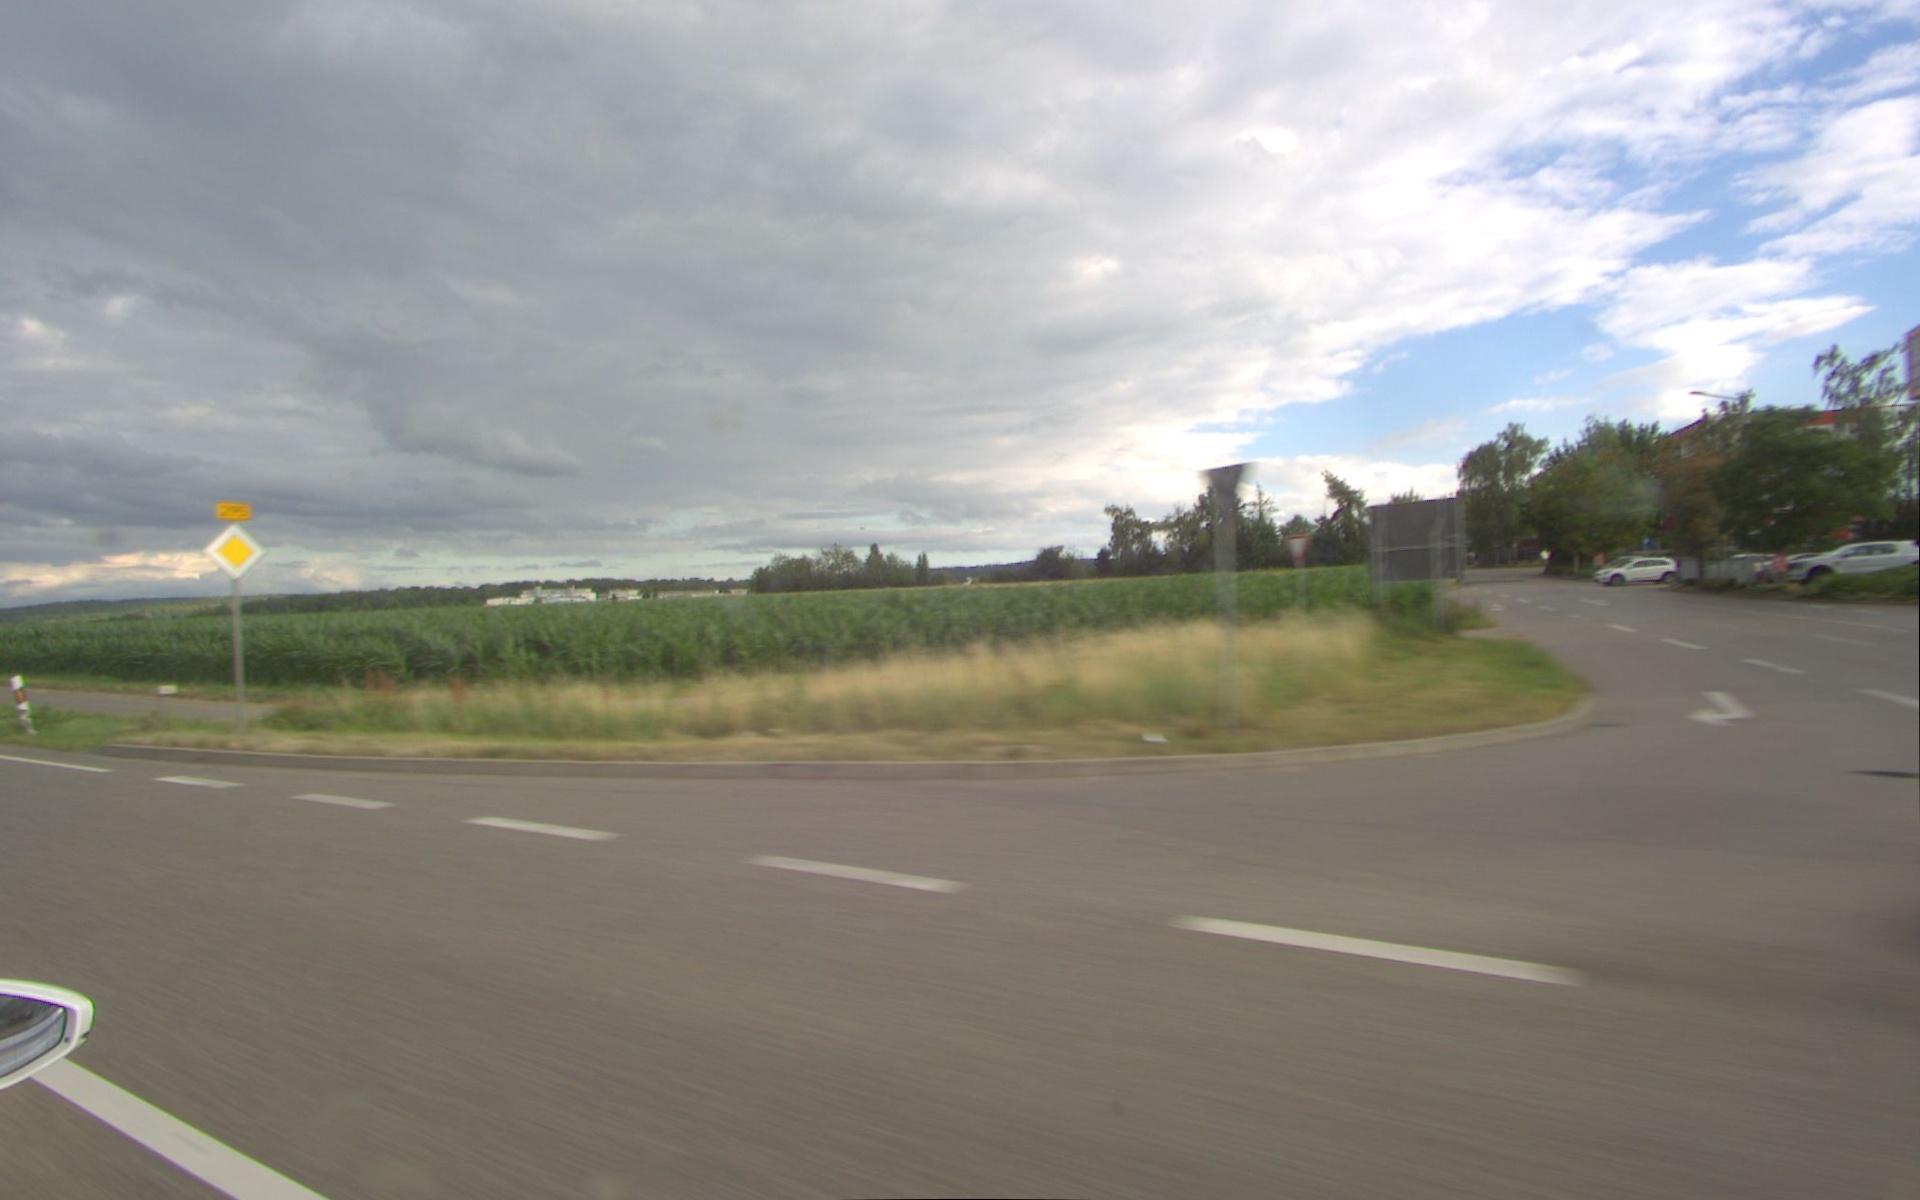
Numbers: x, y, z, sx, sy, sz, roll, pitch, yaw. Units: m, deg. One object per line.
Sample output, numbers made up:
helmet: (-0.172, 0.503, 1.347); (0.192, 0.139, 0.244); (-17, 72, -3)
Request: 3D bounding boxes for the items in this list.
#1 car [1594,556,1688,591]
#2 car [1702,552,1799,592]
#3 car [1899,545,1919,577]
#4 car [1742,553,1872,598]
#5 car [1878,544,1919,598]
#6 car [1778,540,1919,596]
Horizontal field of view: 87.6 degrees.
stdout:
car: (40.330, -1.545, 59.390); (4.259, 1.802, 1.993); (-3, 1, 24)
car: (46.020, -1.618, 58.375); (3.931, 2.039, 1.997); (-2, -2, 20)
car: (57.706, -2.346, 59.328); (1.931, 1.850, 4.285); (-2, 2, 28)
car: (39.319, -1.136, 46.616); (4.236, 1.909, 1.953); (-2, 2, 25)
car: (36.579, -1.166, 37.707); (1.931, 1.909, 4.285); (-2, 2, 28)
car: (37.502, -1.333, 41.211); (5.524, 2.040, 1.993); (-3, 1, 25)
